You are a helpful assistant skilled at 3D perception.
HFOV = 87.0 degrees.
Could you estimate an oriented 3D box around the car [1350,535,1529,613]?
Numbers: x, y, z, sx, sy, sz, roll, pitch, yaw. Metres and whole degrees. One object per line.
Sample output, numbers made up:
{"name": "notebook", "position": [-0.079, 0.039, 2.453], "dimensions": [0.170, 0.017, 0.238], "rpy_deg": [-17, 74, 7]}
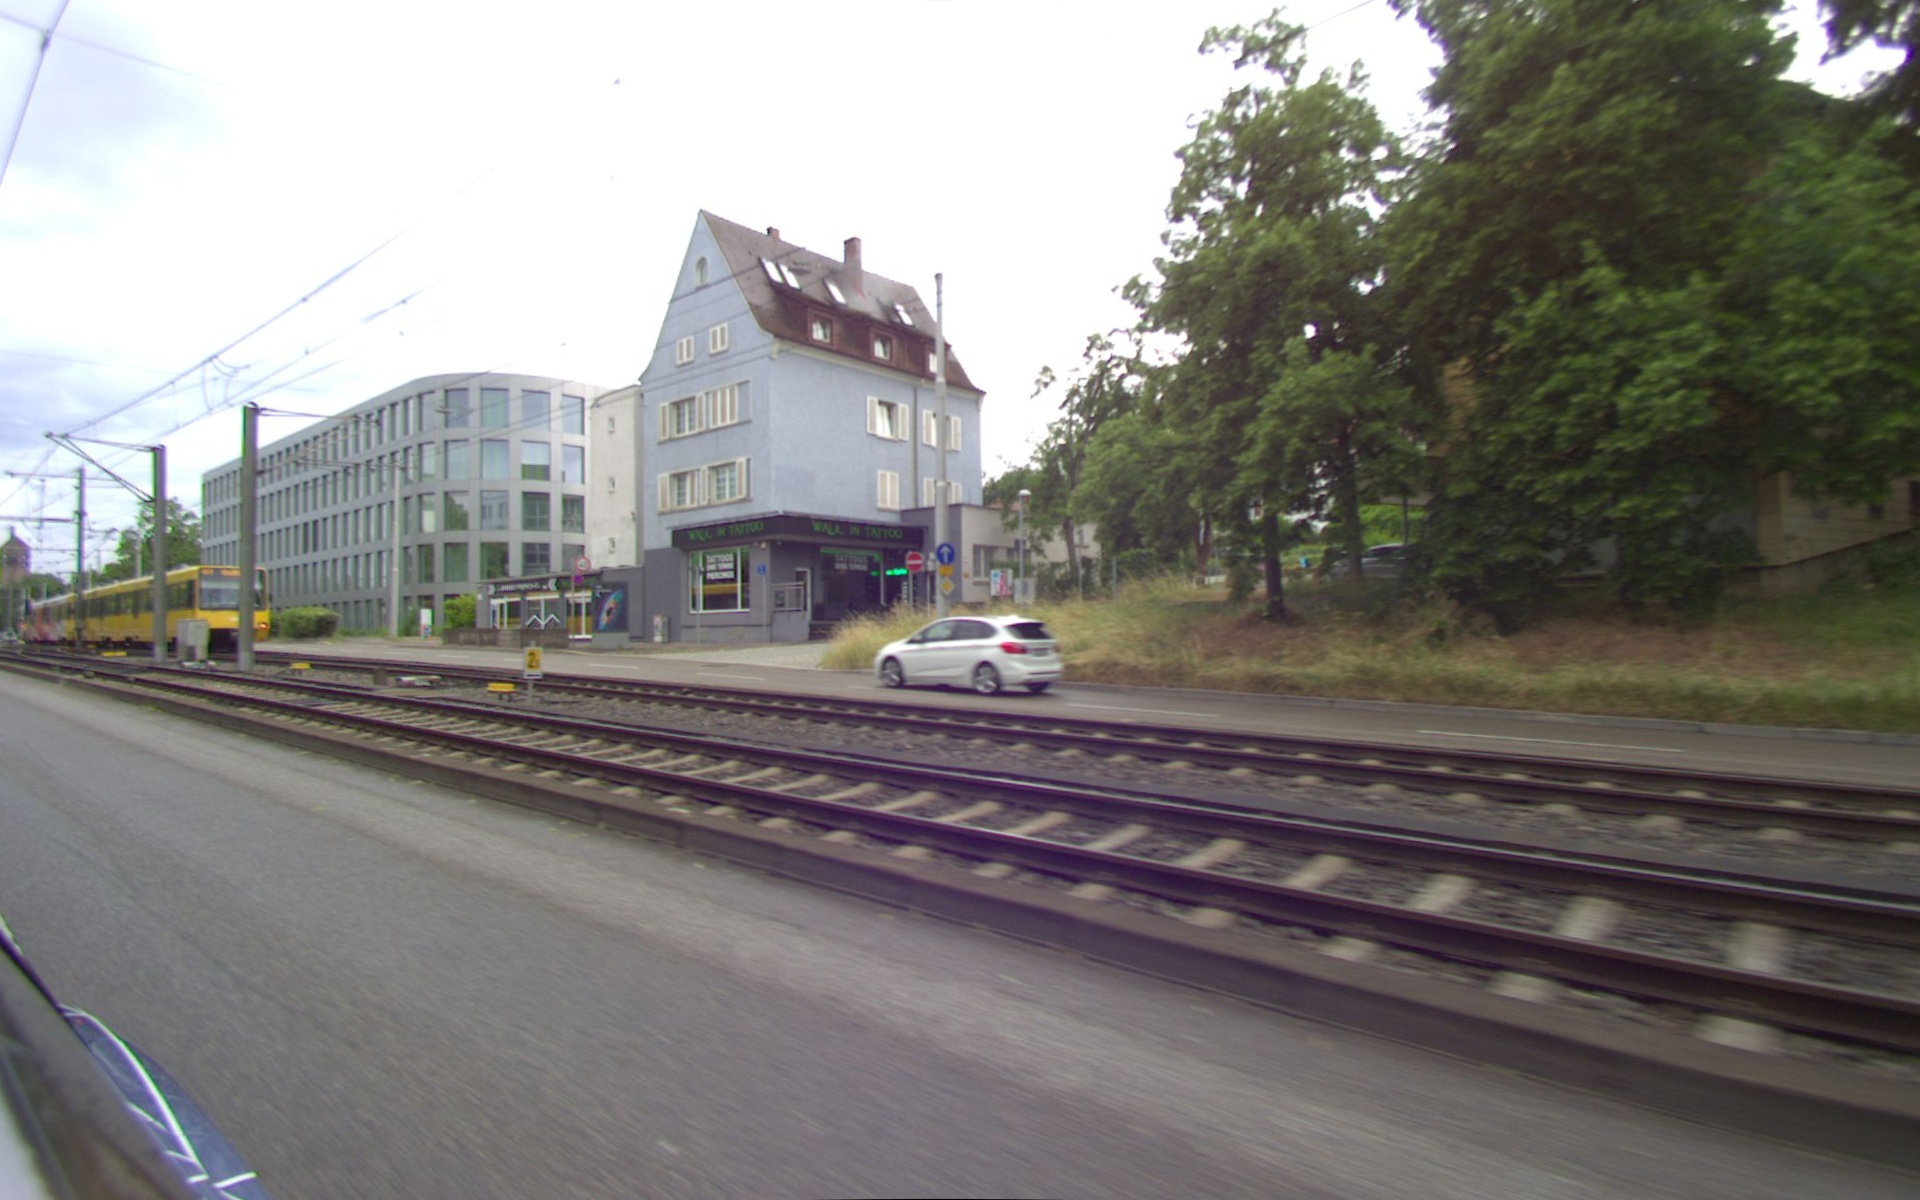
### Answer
{"name": "car", "position": [13.614, -0.647, 28.962], "dimensions": [1.934, 2.029, 4.228], "rpy_deg": [0, -1, -33]}

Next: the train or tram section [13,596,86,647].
{"name": "train or tram section", "position": [-75.768, 1.832, 83.999], "dimensions": [18.614, 3.840, 2.935], "rpy_deg": [-2, -2, 43]}

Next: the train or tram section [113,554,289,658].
{"name": "train or tram section", "position": [-34.333, 0.477, 45.138], "dimensions": [19.519, 3.840, 2.935], "rpy_deg": [-2, -2, 43]}

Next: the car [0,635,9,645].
{"name": "car", "position": [-157.896, 6.630, 166.540], "dimensions": [3.562, 1.649, 1.788], "rpy_deg": [-2, -2, 42]}

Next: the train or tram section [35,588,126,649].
{"name": "train or tram section", "position": [-62.164, 1.373, 71.247], "dimensions": [18.614, 3.840, 2.935], "rpy_deg": [-2, -2, 43]}

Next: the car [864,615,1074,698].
{"name": "car", "position": [0.094, 1.099, 20.939], "dimensions": [4.379, 1.541, 1.635], "rpy_deg": [-1, -2, 42]}

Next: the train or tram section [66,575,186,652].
{"name": "train or tram section", "position": [-48.417, 0.930, 58.342], "dimensions": [19.098, 3.840, 2.935], "rpy_deg": [-2, -2, 43]}
